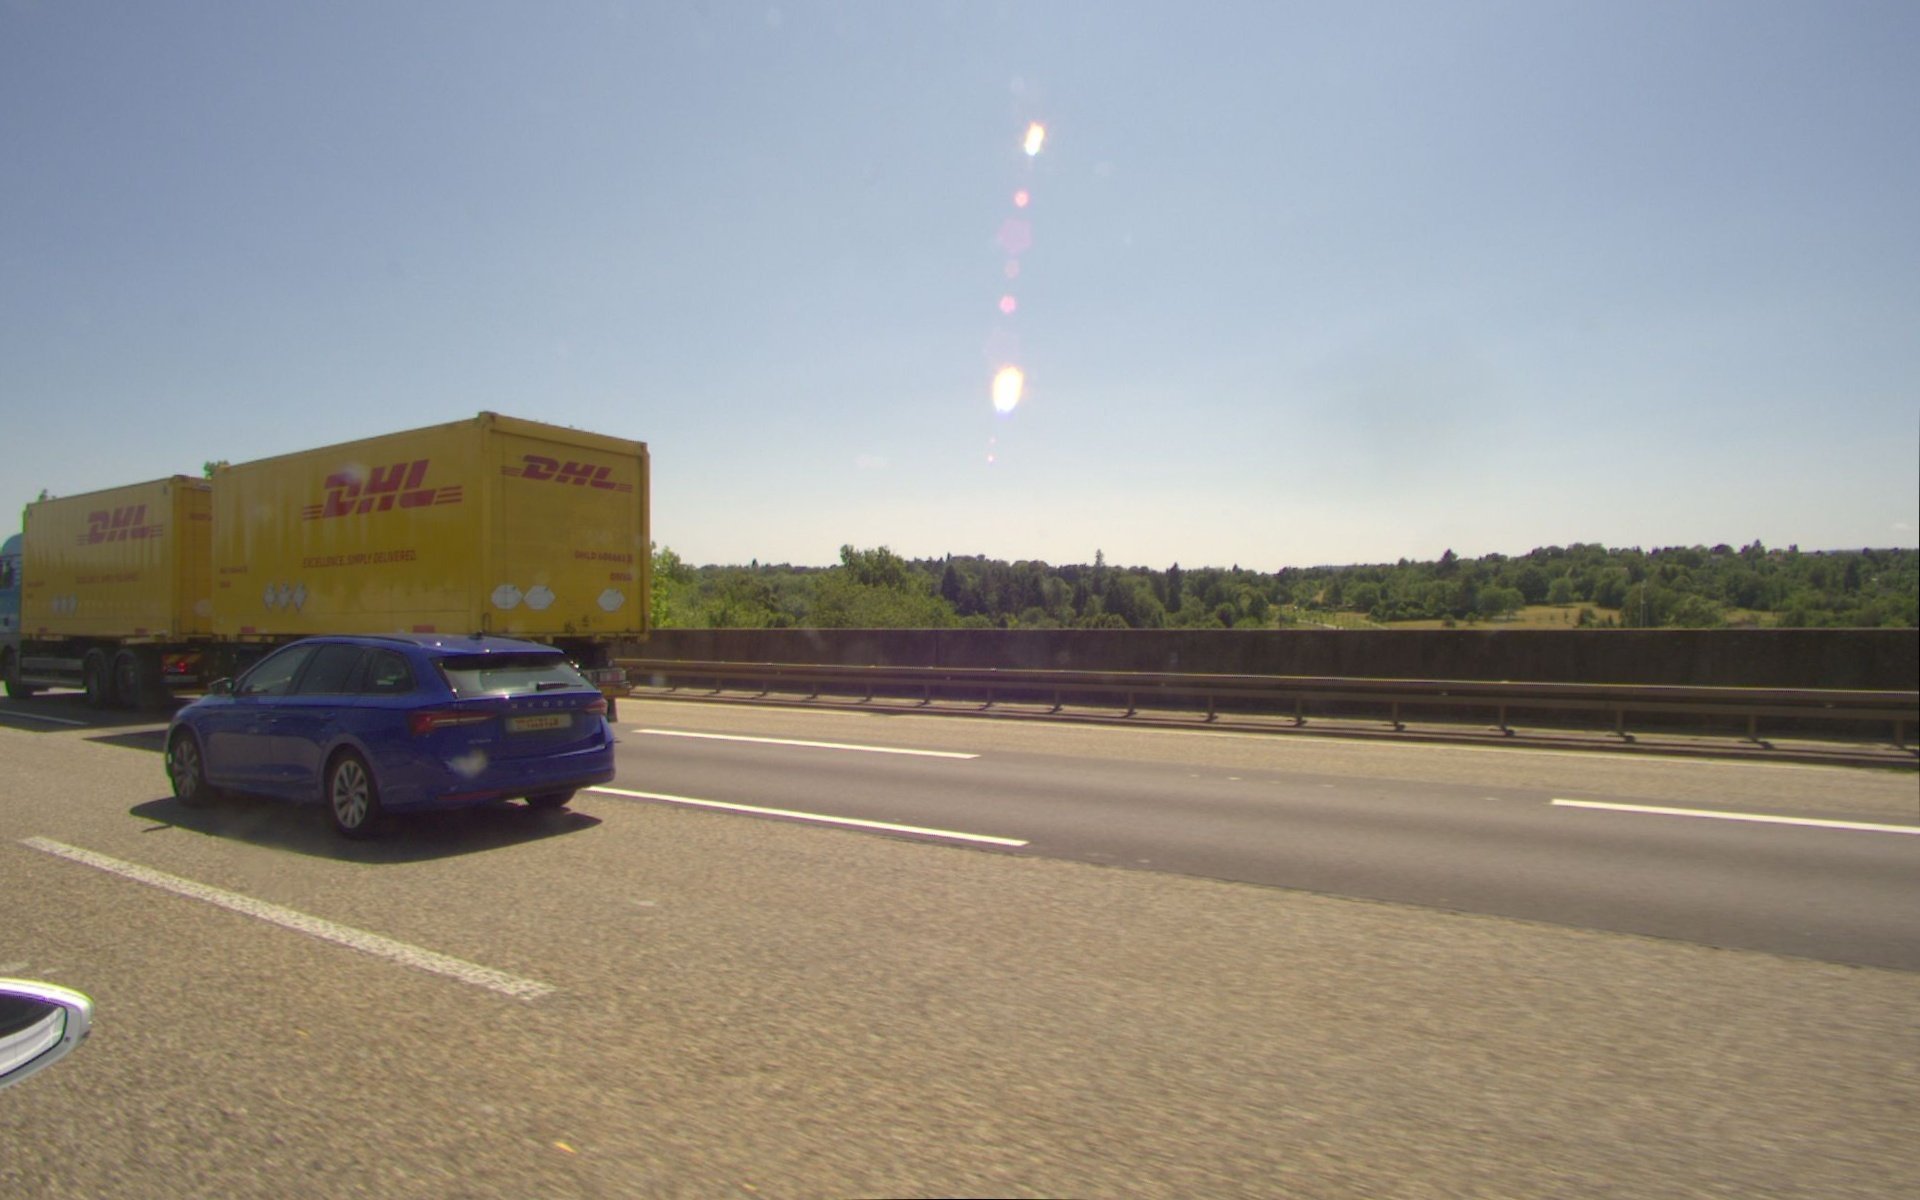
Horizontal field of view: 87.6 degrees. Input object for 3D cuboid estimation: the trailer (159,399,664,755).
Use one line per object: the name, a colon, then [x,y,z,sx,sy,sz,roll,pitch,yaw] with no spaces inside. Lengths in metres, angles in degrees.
trailer: [-8.787,-0.184,15.433,9.245,4.170,2.760,0,-2,33]

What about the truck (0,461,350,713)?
truck: [-16.383,-0.128,20.296,9.810,4.161,2.761,0,-2,32]

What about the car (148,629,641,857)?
car: [-4.818,0.988,8.349,4.364,1.459,1.704,-1,-2,32]
